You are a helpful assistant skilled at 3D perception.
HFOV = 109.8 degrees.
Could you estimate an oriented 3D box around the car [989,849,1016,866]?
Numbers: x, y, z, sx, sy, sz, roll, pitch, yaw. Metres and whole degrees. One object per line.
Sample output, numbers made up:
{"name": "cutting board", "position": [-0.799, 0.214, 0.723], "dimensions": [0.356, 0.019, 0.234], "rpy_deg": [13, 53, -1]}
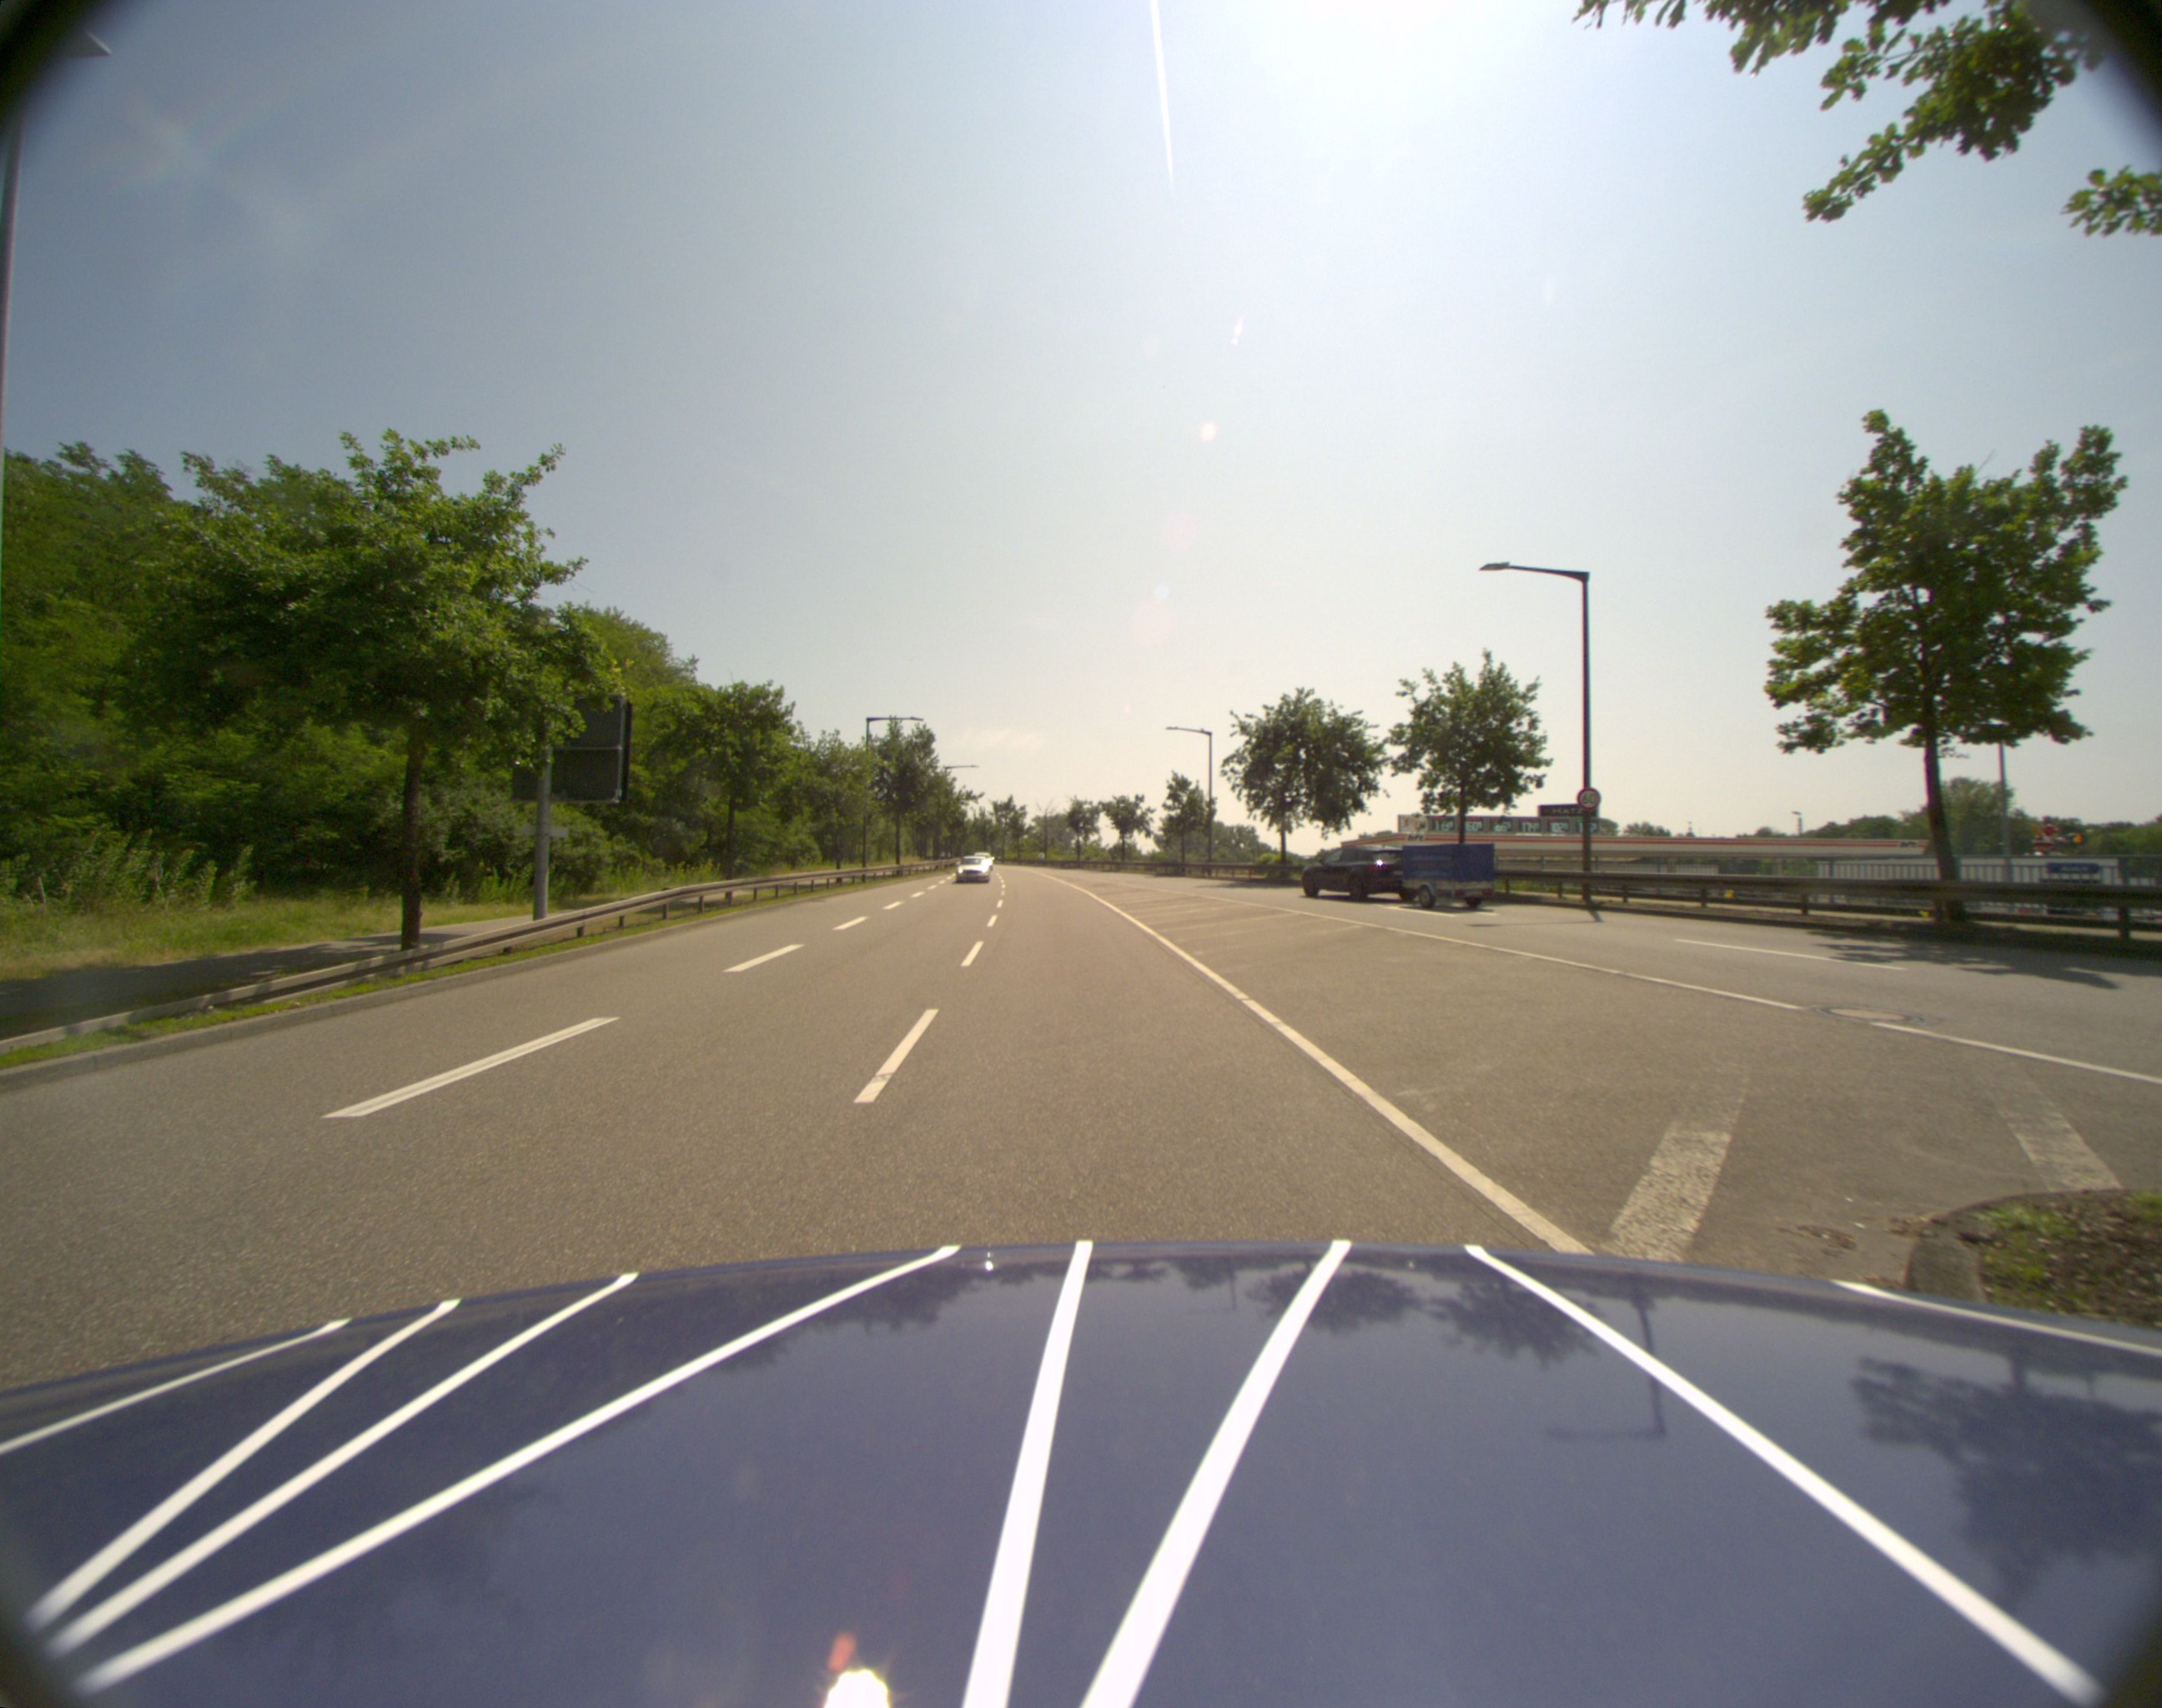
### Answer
{"name": "car", "position": [-6.762, 0.313, 65.149], "dimensions": [2.000, 1.361, 4.230], "rpy_deg": [-1, -1, -9]}

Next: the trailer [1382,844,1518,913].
{"name": "trailer", "position": [9.385, 0.560, 19.581], "dimensions": [1.510, 1.606, 3.305], "rpy_deg": [-1, 1, -10]}

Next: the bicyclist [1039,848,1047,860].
{"name": "bicyclist", "position": [-4.591, -0.020, 92.438], "dimensions": [0.732, 1.457, 0.822], "rpy_deg": [4, 1, -17]}

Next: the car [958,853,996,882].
{"name": "car", "position": [-5.624, 0.688, 41.501], "dimensions": [1.764, 1.490, 4.232], "rpy_deg": [-1, 0, -4]}

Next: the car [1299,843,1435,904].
{"name": "car", "position": [8.637, 0.518, 23.390], "dimensions": [1.921, 1.642, 4.403], "rpy_deg": [-2, 1, -10]}

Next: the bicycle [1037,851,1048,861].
{"name": "bicycle", "position": [-4.643, 0.287, 92.510], "dimensions": [0.737, 1.110, 2.042], "rpy_deg": [4, 0, -18]}
